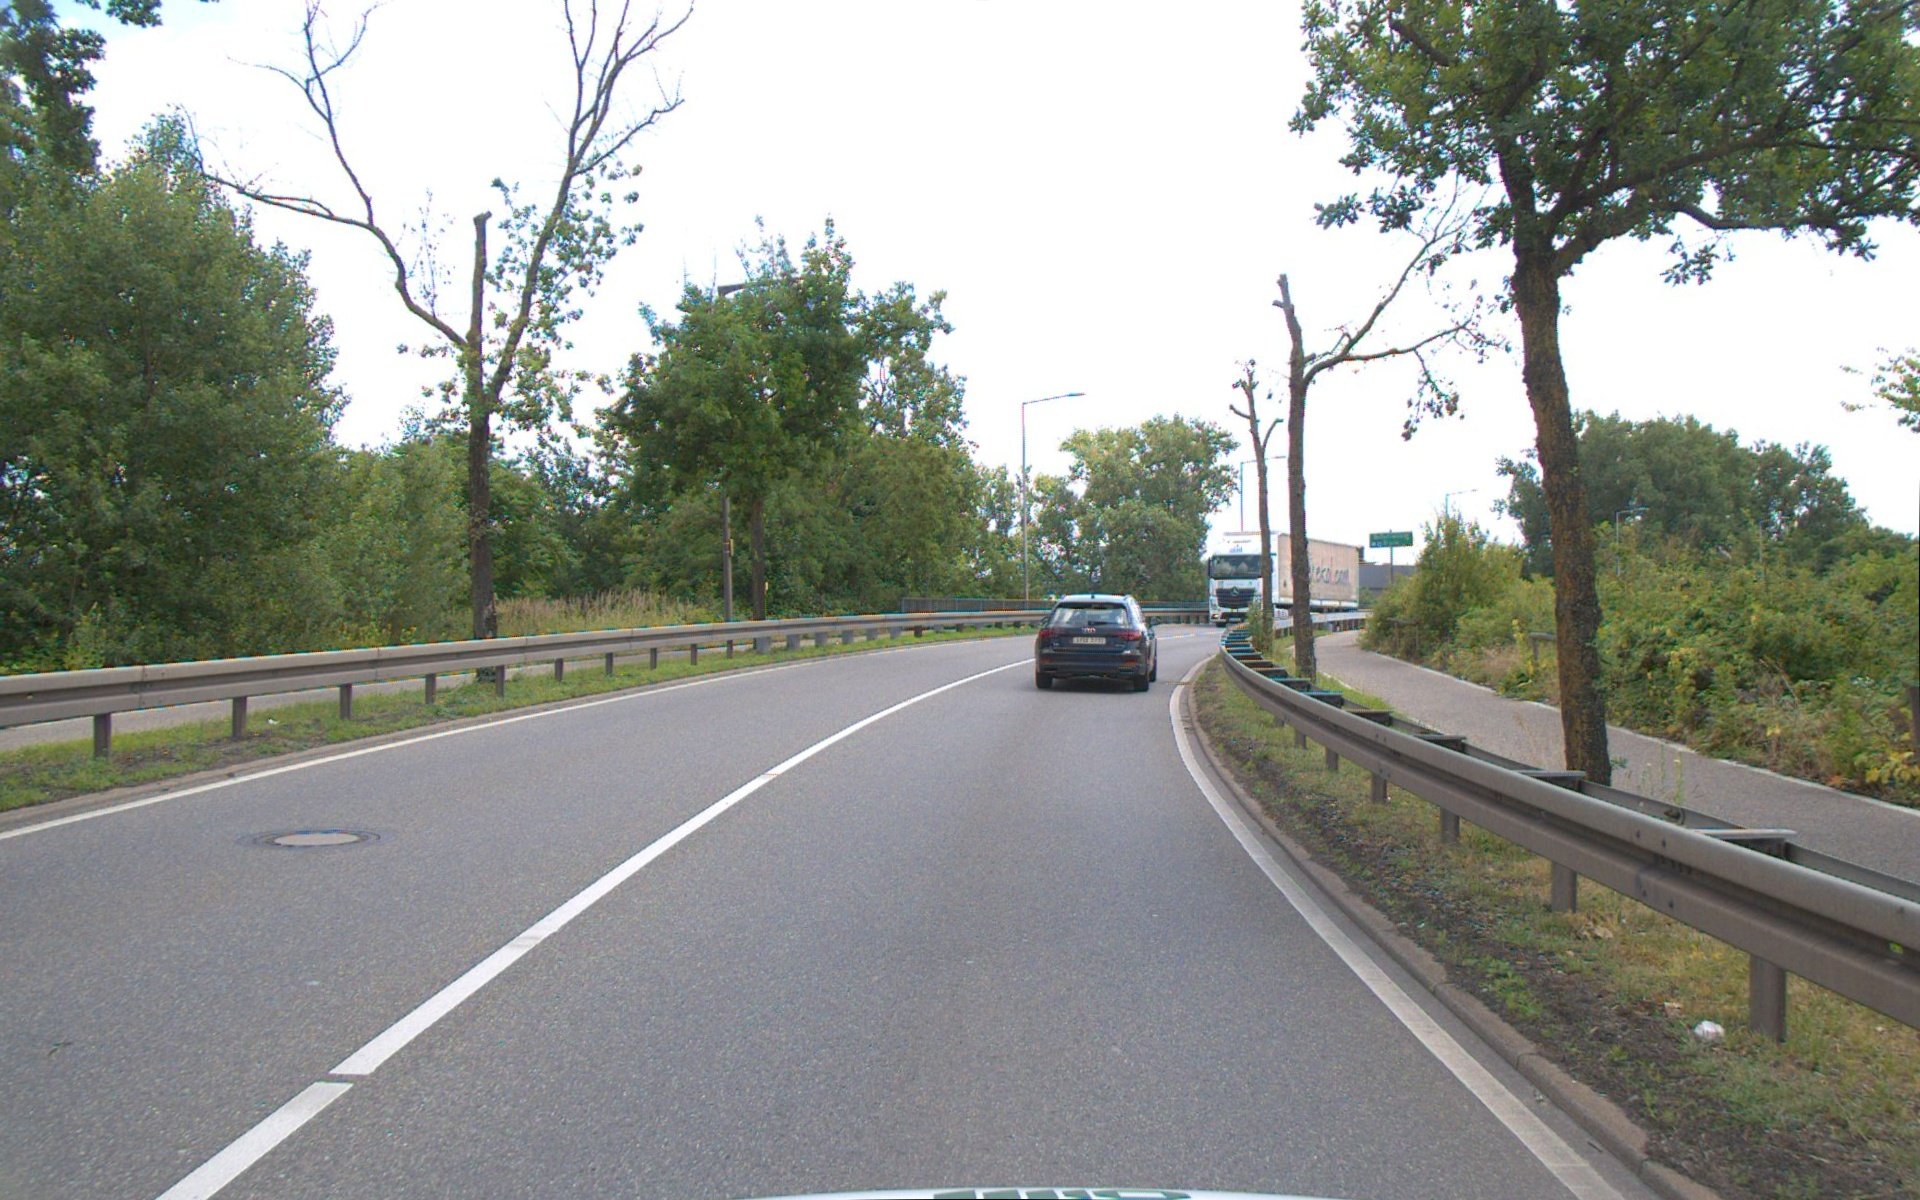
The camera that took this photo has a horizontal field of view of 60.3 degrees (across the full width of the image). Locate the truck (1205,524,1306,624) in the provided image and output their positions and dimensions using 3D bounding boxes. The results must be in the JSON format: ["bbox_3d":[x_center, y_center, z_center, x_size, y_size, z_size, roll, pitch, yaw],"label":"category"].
[{"bbox_3d":[13.055,-1.110,72.738,2.709,4.207,5.645,1,0,28],"label":"truck"}]

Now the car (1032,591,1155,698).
[{"bbox_3d":[2.100,0.653,26.623,1.789,1.517,4.209,1,1,3],"label":"car"}]

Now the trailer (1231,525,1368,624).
[{"bbox_3d":[16.553,-1.122,79.494,2.654,4.354,14.213,1,0,27],"label":"trailer"}]
